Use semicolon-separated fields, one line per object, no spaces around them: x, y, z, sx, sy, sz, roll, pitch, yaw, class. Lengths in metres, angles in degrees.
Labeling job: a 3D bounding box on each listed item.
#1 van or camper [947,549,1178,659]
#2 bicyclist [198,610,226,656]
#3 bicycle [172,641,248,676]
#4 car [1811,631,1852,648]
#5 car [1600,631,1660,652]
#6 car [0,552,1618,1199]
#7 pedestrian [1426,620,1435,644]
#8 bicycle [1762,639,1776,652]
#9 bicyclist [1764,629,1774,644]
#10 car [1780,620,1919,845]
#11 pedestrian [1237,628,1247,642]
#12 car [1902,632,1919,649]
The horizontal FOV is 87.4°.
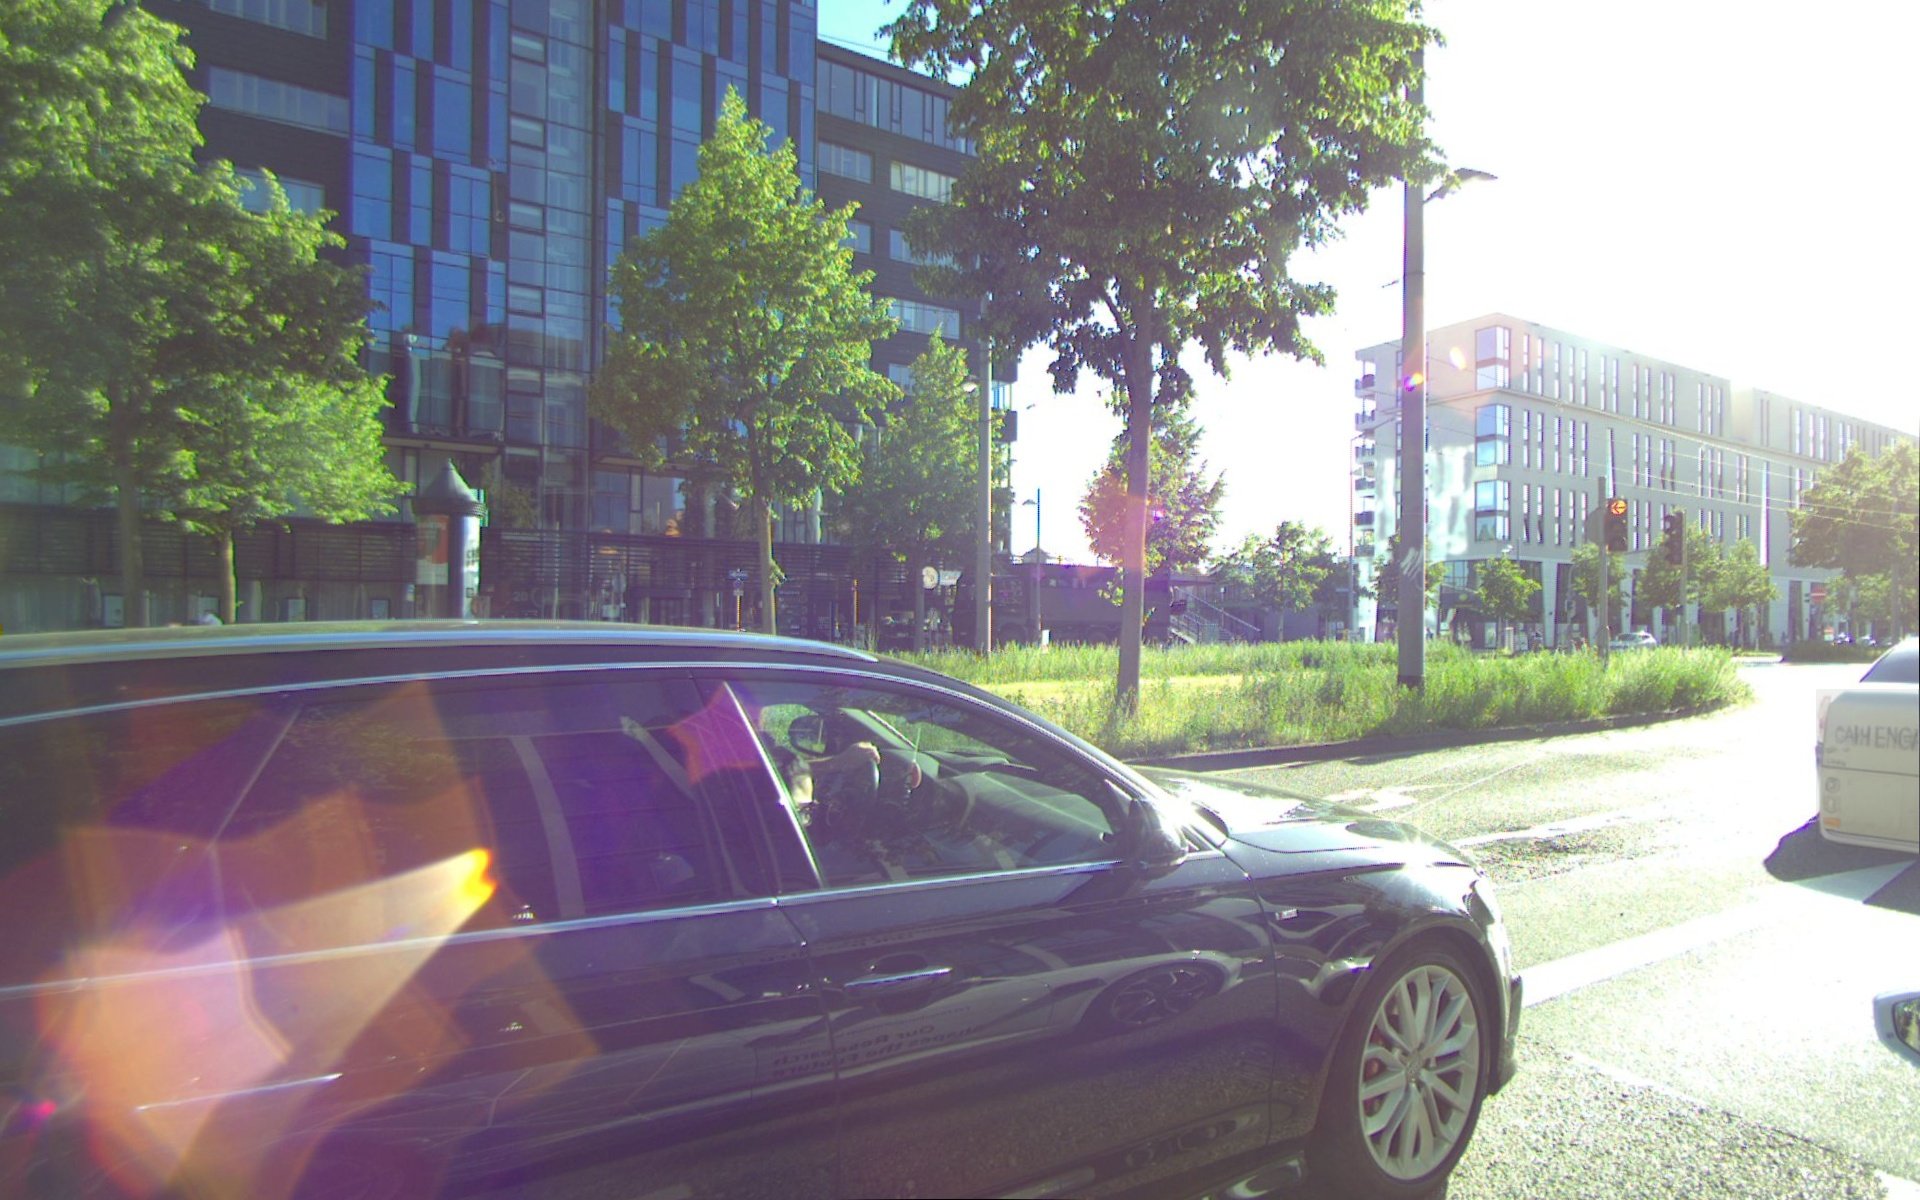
4.496;0.302;42.469;10.111;4.248;2.740;2;-1;-31;van or camper
-23.466;1.042;31.503;0.619;1.424;0.489;2;0;-31;bicyclist
-23.494;1.834;31.495;1.827;1.047;0.524;2;-1;-31;bicycle
71.798;3.265;82.746;3.670;1.360;1.572;2;-1;-32;car
43.896;2.720;65.811;4.421;1.360;1.572;2;-1;-32;car
-0.476;0.720;2.487;4.456;1.476;1.799;1;-1;-31;car
36.295;2.482;77.438;0.588;1.795;0.672;1;0;23;pedestrian
70.979;3.992;88.116;1.622;1.125;0.524;2;-1;-36;bicycle
70.917;3.205;88.046;0.699;1.310;0.574;2;0;-38;bicyclist
8.379;0.953;7.981;4.070;1.548;1.797;1;-1;-34;car
23.908;2.952;85.168;0.593;1.140;0.437;2;0;-29;pedestrian
92.709;3.925;96.857;3.763;1.548;1.767;2;-1;-32;car
